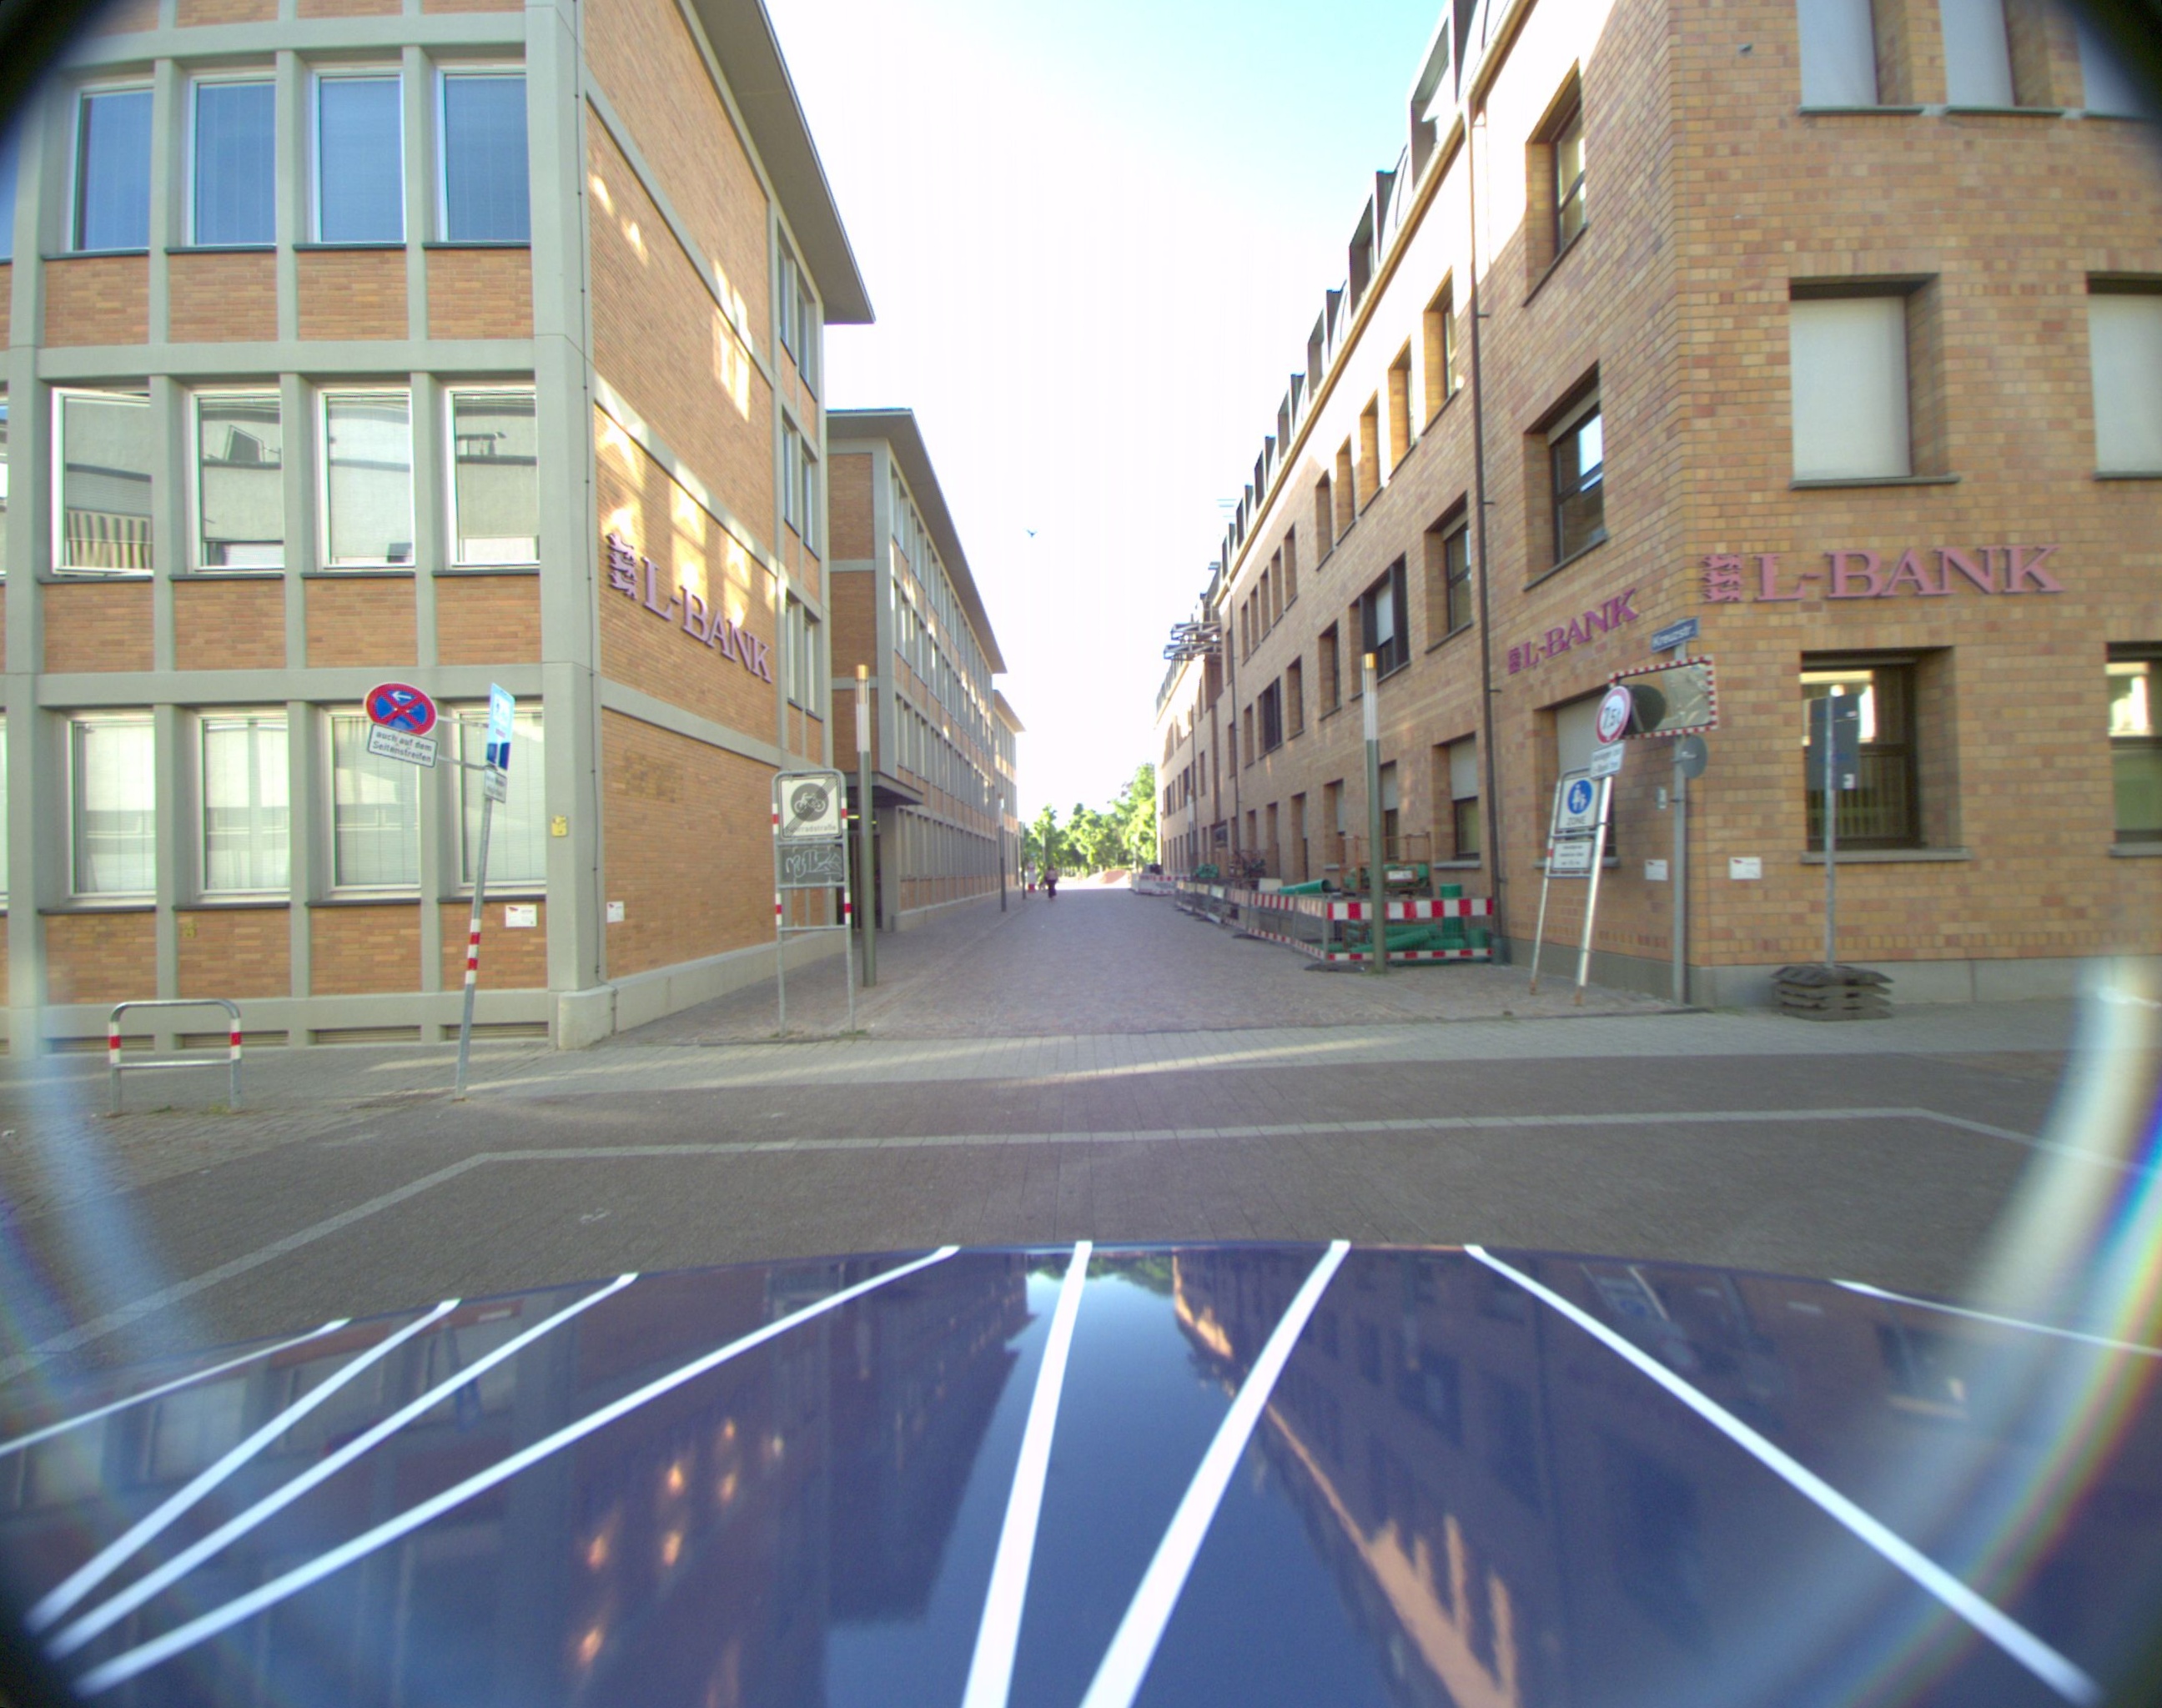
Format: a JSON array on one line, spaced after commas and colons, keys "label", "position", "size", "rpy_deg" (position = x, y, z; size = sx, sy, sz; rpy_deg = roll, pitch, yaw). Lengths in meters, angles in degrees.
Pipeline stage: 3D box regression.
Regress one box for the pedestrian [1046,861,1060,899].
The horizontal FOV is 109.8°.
[{"label": "pedestrian", "position": [-1.350, 1.268, 36.813], "size": [0.638, 1.774, 0.652], "rpy_deg": [-2, -3, 0]}]
